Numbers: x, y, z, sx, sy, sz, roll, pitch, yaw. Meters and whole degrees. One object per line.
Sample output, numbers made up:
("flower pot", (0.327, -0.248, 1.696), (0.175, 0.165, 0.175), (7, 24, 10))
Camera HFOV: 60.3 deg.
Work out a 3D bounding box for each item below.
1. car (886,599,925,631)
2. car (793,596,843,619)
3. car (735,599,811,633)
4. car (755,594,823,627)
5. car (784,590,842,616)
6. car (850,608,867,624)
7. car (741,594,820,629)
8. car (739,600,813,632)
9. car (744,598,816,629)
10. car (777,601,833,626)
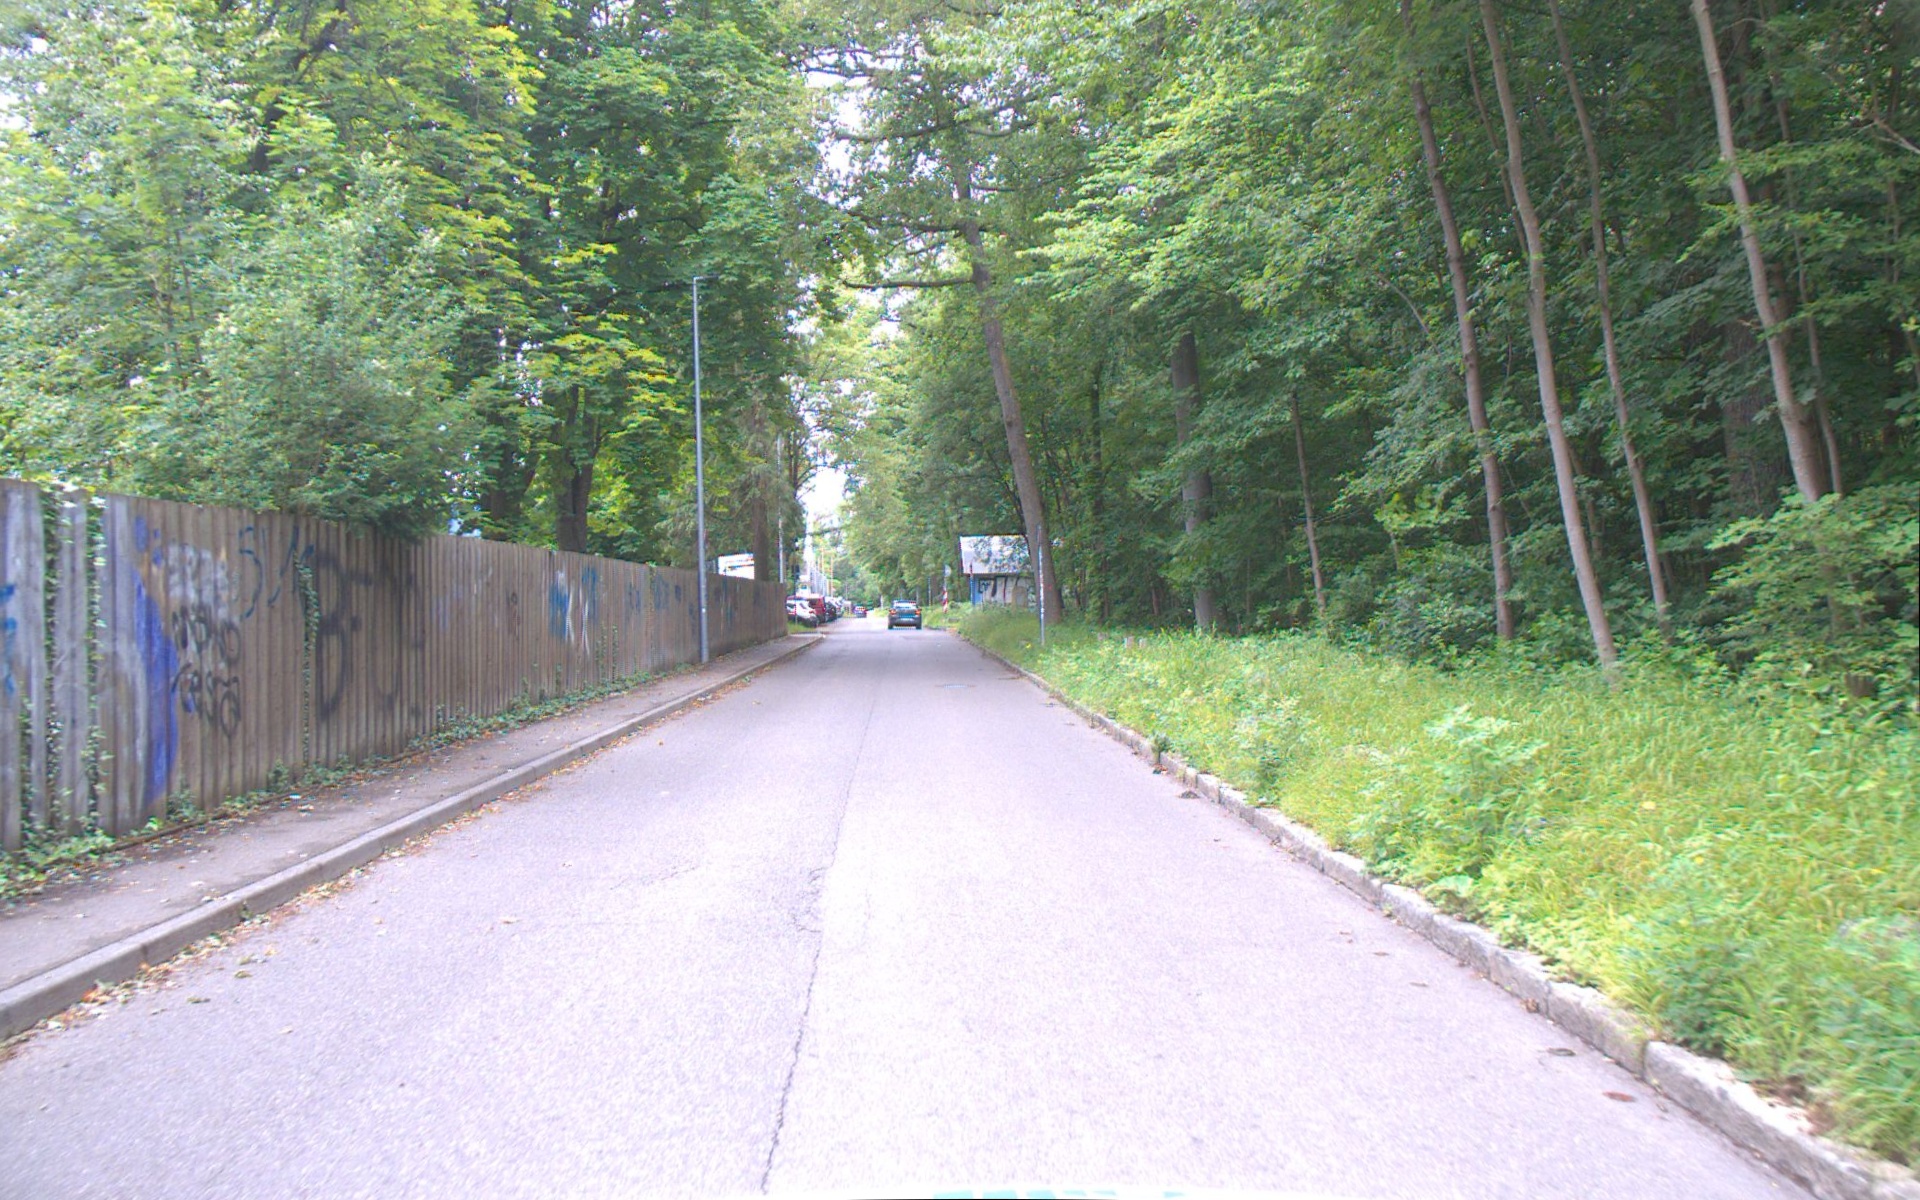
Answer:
("car", (-2.730, 0.752, 83.761), (1.869, 1.534, 3.999), (1, -1, -1))
("car", (-11.367, 0.590, 132.575), (3.908, 1.624, 1.764), (-3, -1, -3))
("car", (-9.830, 0.837, 87.025), (3.910, 1.601, 1.997), (-2, 0, -6))
("car", (-10.094, 0.608, 97.807), (3.910, 1.780, 1.997), (-2, 0, -6))
("car", (-10.351, 0.220, 116.428), (3.908, 1.624, 1.764), (-3, -1, -3))
("car", (-13.794, 2.169, 223.839), (1.956, 2.049, 3.993), (-2, 0, -8))
("car", (-9.187, 0.594, 84.727), (3.911, 1.601, 1.997), (-3, 0, -6))
("car", (-9.962, 0.872, 89.557), (3.910, 1.601, 1.997), (-2, 0, -6))
("car", (-10.089, 0.747, 92.645), (3.911, 1.601, 1.997), (-2, 0, -6))
("car", (-10.004, 0.863, 106.826), (3.501, 1.432, 1.649), (-2, -1, -3))
